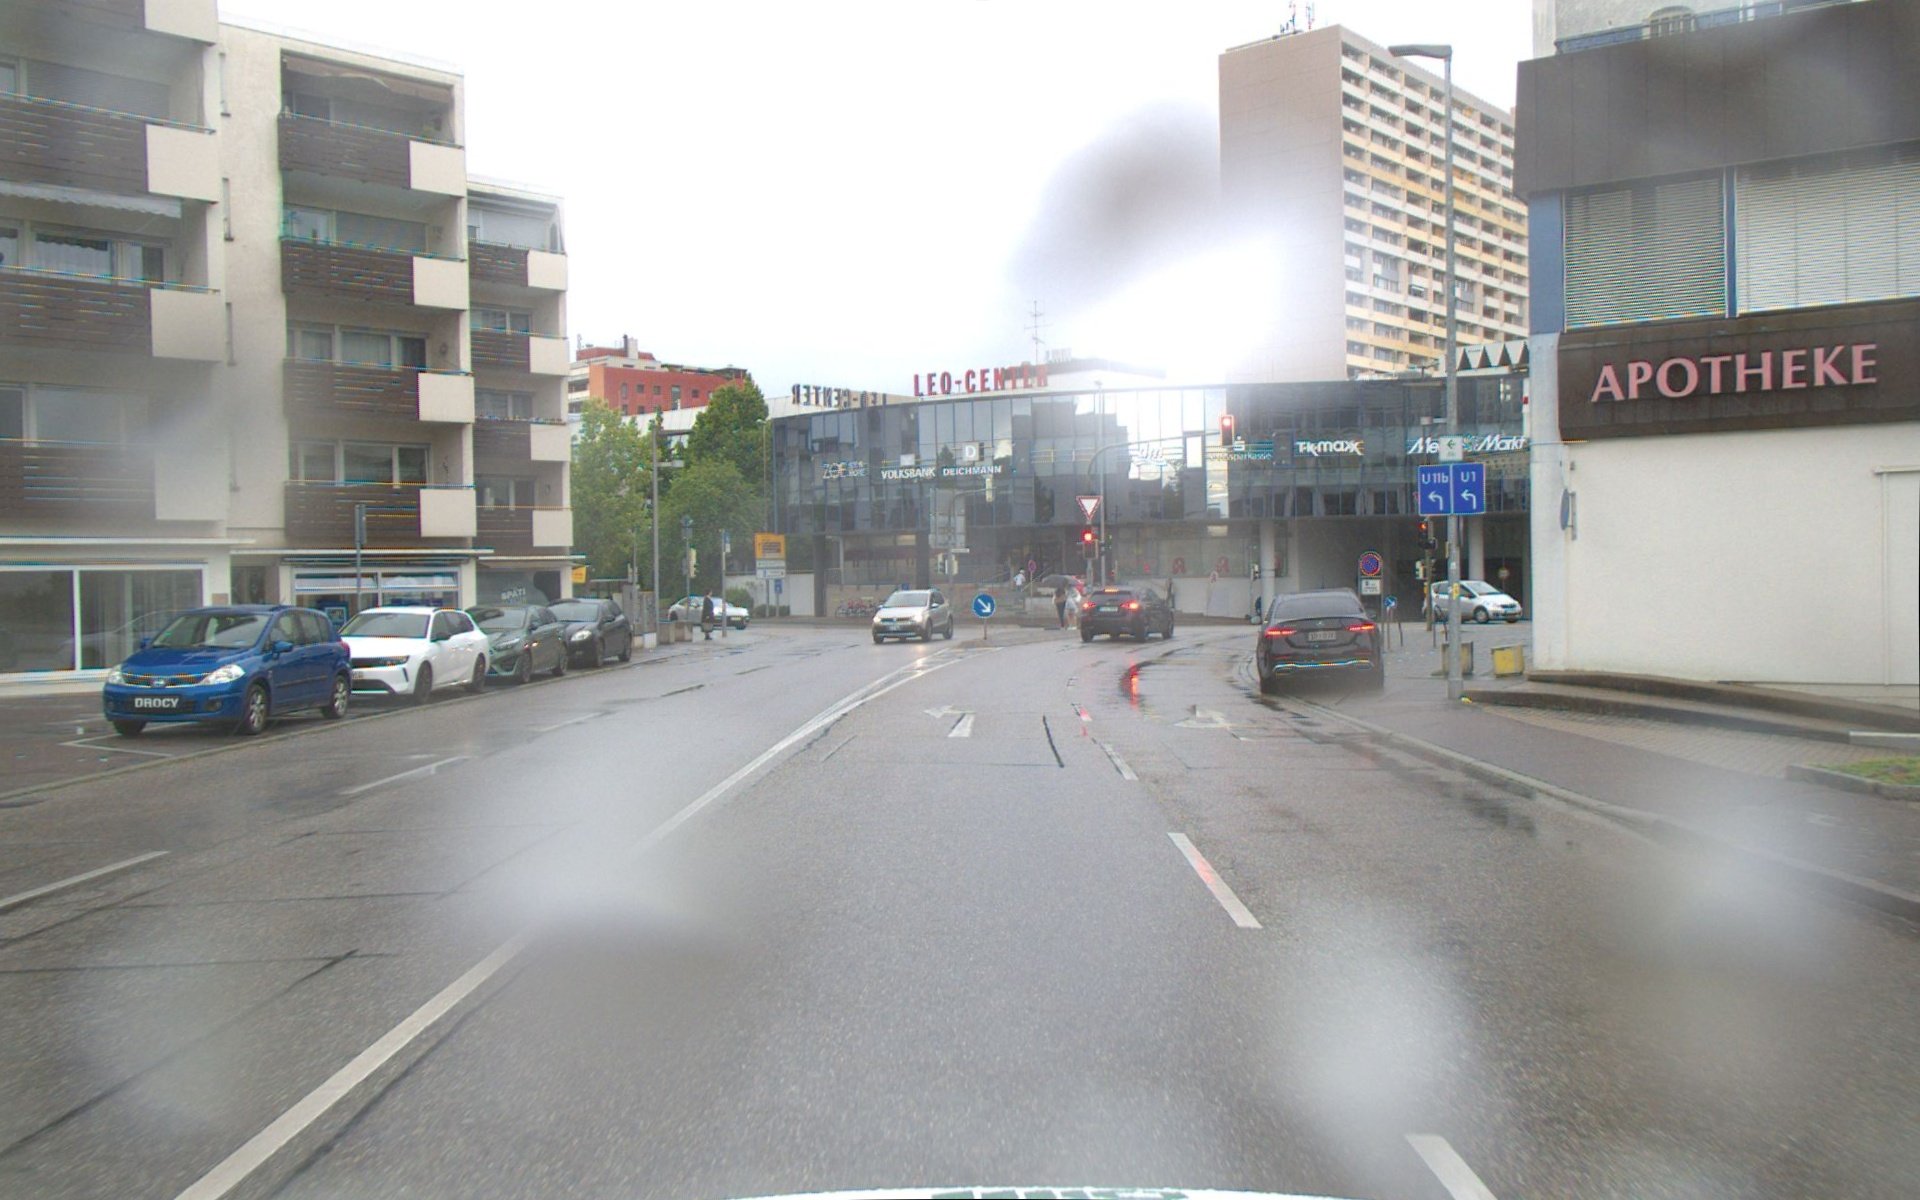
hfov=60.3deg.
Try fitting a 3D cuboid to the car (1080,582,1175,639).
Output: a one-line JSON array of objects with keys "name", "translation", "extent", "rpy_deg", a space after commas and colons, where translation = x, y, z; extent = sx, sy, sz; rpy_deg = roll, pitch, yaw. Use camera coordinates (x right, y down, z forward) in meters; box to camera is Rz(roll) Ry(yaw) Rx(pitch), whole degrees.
[{"name": "car", "translation": [4.582, 0.259, 44.775], "extent": [1.766, 1.444, 4.003], "rpy_deg": [-1, 1, 17]}]

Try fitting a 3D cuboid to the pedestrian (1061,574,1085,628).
[{"name": "pedestrian", "translation": [3.591, 0.028, 52.559], "extent": [0.597, 1.688, 0.672], "rpy_deg": [3, 1, -4]}]

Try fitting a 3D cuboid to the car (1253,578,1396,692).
[{"name": "car", "translation": [5.491, 0.506, 25.246], "extent": [1.951, 1.560, 4.651], "rpy_deg": [0, -1, 11]}]

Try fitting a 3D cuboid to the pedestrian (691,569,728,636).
[{"name": "pedestrian", "translation": [-7.963, 0.082, 52.602], "extent": [0.733, 2.048, 0.921], "rpy_deg": [3, 0, 22]}]

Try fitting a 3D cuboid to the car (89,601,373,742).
[{"name": "car", "translation": [-9.137, 0.827, 21.157], "extent": [1.617, 1.547, 4.325], "rpy_deg": [-1, 1, 1]}]

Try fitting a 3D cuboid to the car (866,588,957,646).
[{"name": "car", "translation": [-1.380, 0.470, 48.400], "extent": [1.786, 1.464, 3.845], "rpy_deg": [-3, 1, 11]}]

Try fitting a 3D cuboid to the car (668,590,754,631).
[{"name": "car", "translation": [-11.044, 0.451, 73.213], "extent": [1.977, 1.538, 4.379], "rpy_deg": [2, 2, -36]}]

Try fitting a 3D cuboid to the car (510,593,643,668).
[{"name": "car", "translation": [-8.643, 0.649, 37.672], "extent": [1.894, 1.568, 4.274], "rpy_deg": [-1, 1, 2]}]

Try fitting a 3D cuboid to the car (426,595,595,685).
[{"name": "car", "translation": [-8.587, 0.709, 31.988], "extent": [1.894, 1.568, 4.522], "rpy_deg": [-1, 1, 2]}]

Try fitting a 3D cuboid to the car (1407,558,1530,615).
[{"name": "car", "translation": [18.883, -0.491, 61.567], "extent": [1.983, 2.049, 3.939], "rpy_deg": [-1, 1, -41]}]

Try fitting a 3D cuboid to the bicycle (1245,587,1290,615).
[{"name": "bicycle", "translation": [17.129, 0.051, 92.206], "extent": [2.374, 1.489, 0.656], "rpy_deg": [-1, 2, 0]}]

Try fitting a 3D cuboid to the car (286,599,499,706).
[{"name": "car", "translation": [-8.954, 0.762, 26.539], "extent": [1.658, 1.489, 4.685], "rpy_deg": [-1, 1, 2]}]

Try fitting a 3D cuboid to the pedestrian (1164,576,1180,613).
[{"name": "pedestrian", "translation": [11.906, -0.313, 92.964], "extent": [0.770, 2.049, 0.671], "rpy_deg": [-1, 0, 12]}]

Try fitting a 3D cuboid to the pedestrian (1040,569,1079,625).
[{"name": "pedestrian", "translation": [3.104, -0.092, 51.744], "extent": [0.898, 1.688, 0.749], "rpy_deg": [2, 2, -26]}]
